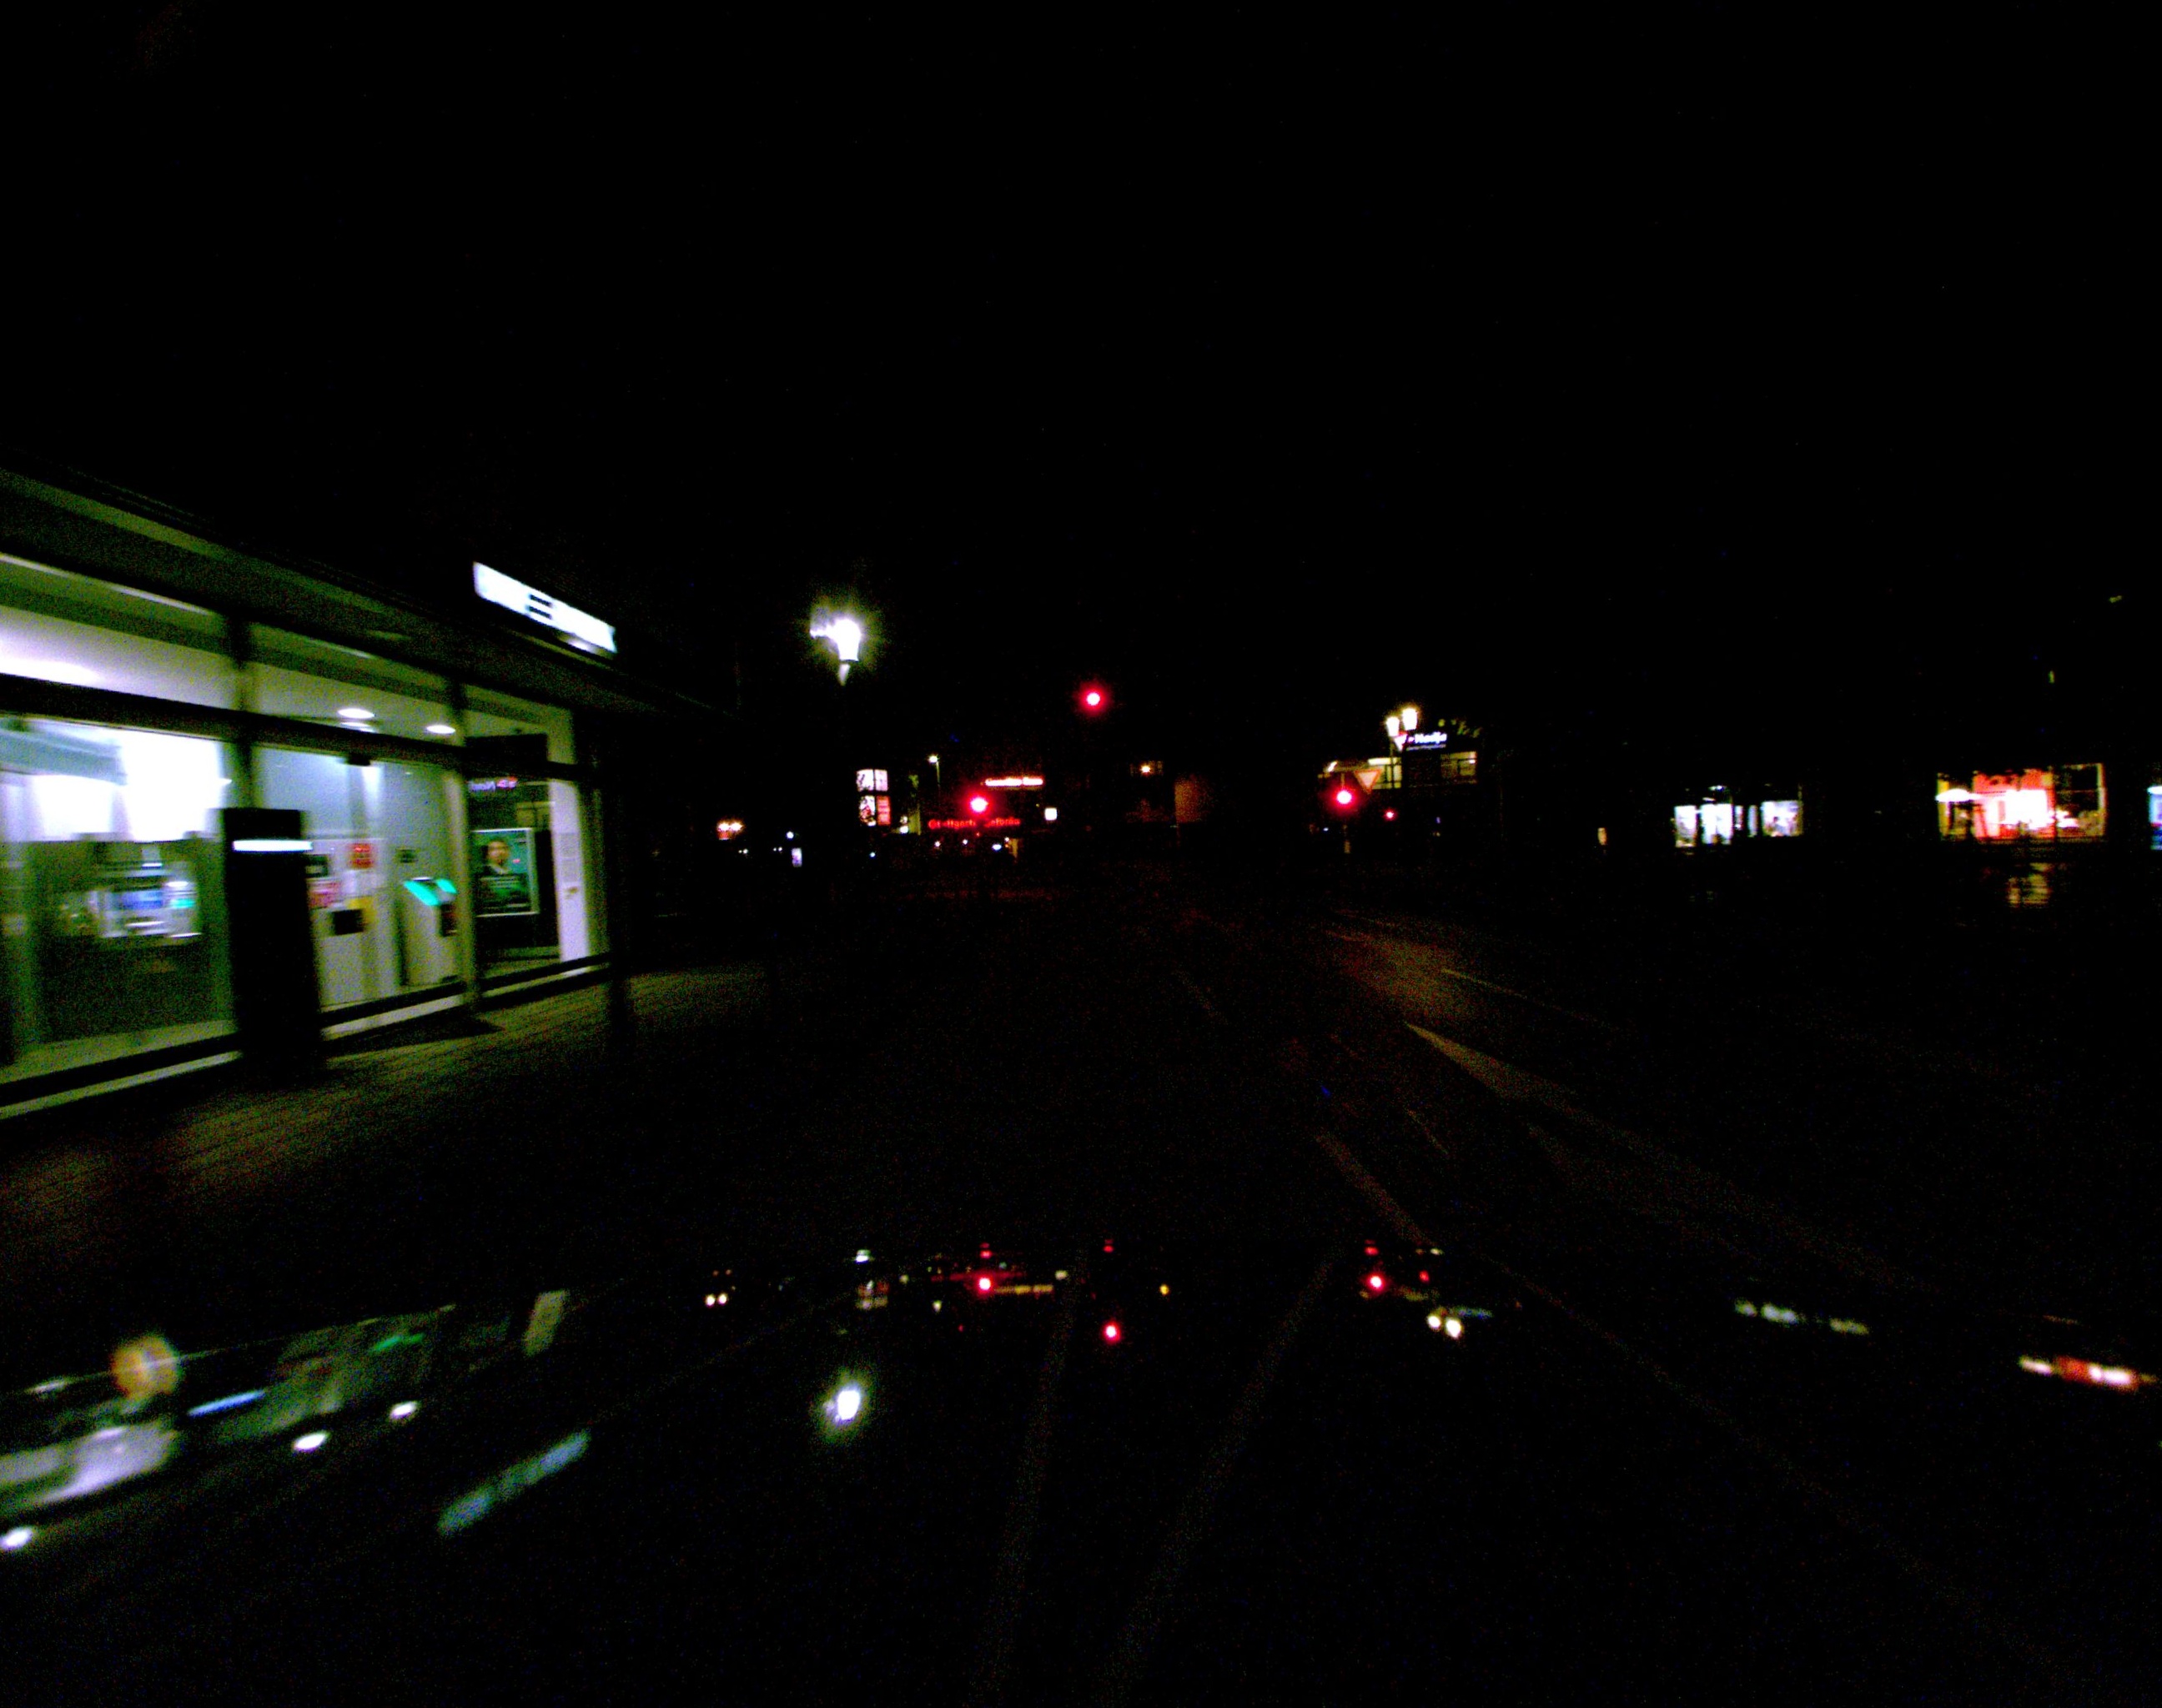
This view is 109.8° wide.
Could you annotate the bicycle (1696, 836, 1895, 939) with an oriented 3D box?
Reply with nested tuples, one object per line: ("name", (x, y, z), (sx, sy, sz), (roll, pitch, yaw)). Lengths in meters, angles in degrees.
("bicycle", (9.340, 0.426, 9.998), (1.738, 1.160, 0.787), (-5, 1, 5))

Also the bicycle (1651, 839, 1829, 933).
("bicycle", (9.318, 0.433, 10.799), (1.738, 1.151, 0.787), (-5, 2, 5))

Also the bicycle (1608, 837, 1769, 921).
("bicycle", (9.703, 0.388, 12.199), (1.838, 1.151, 0.787), (-5, 2, 5))
